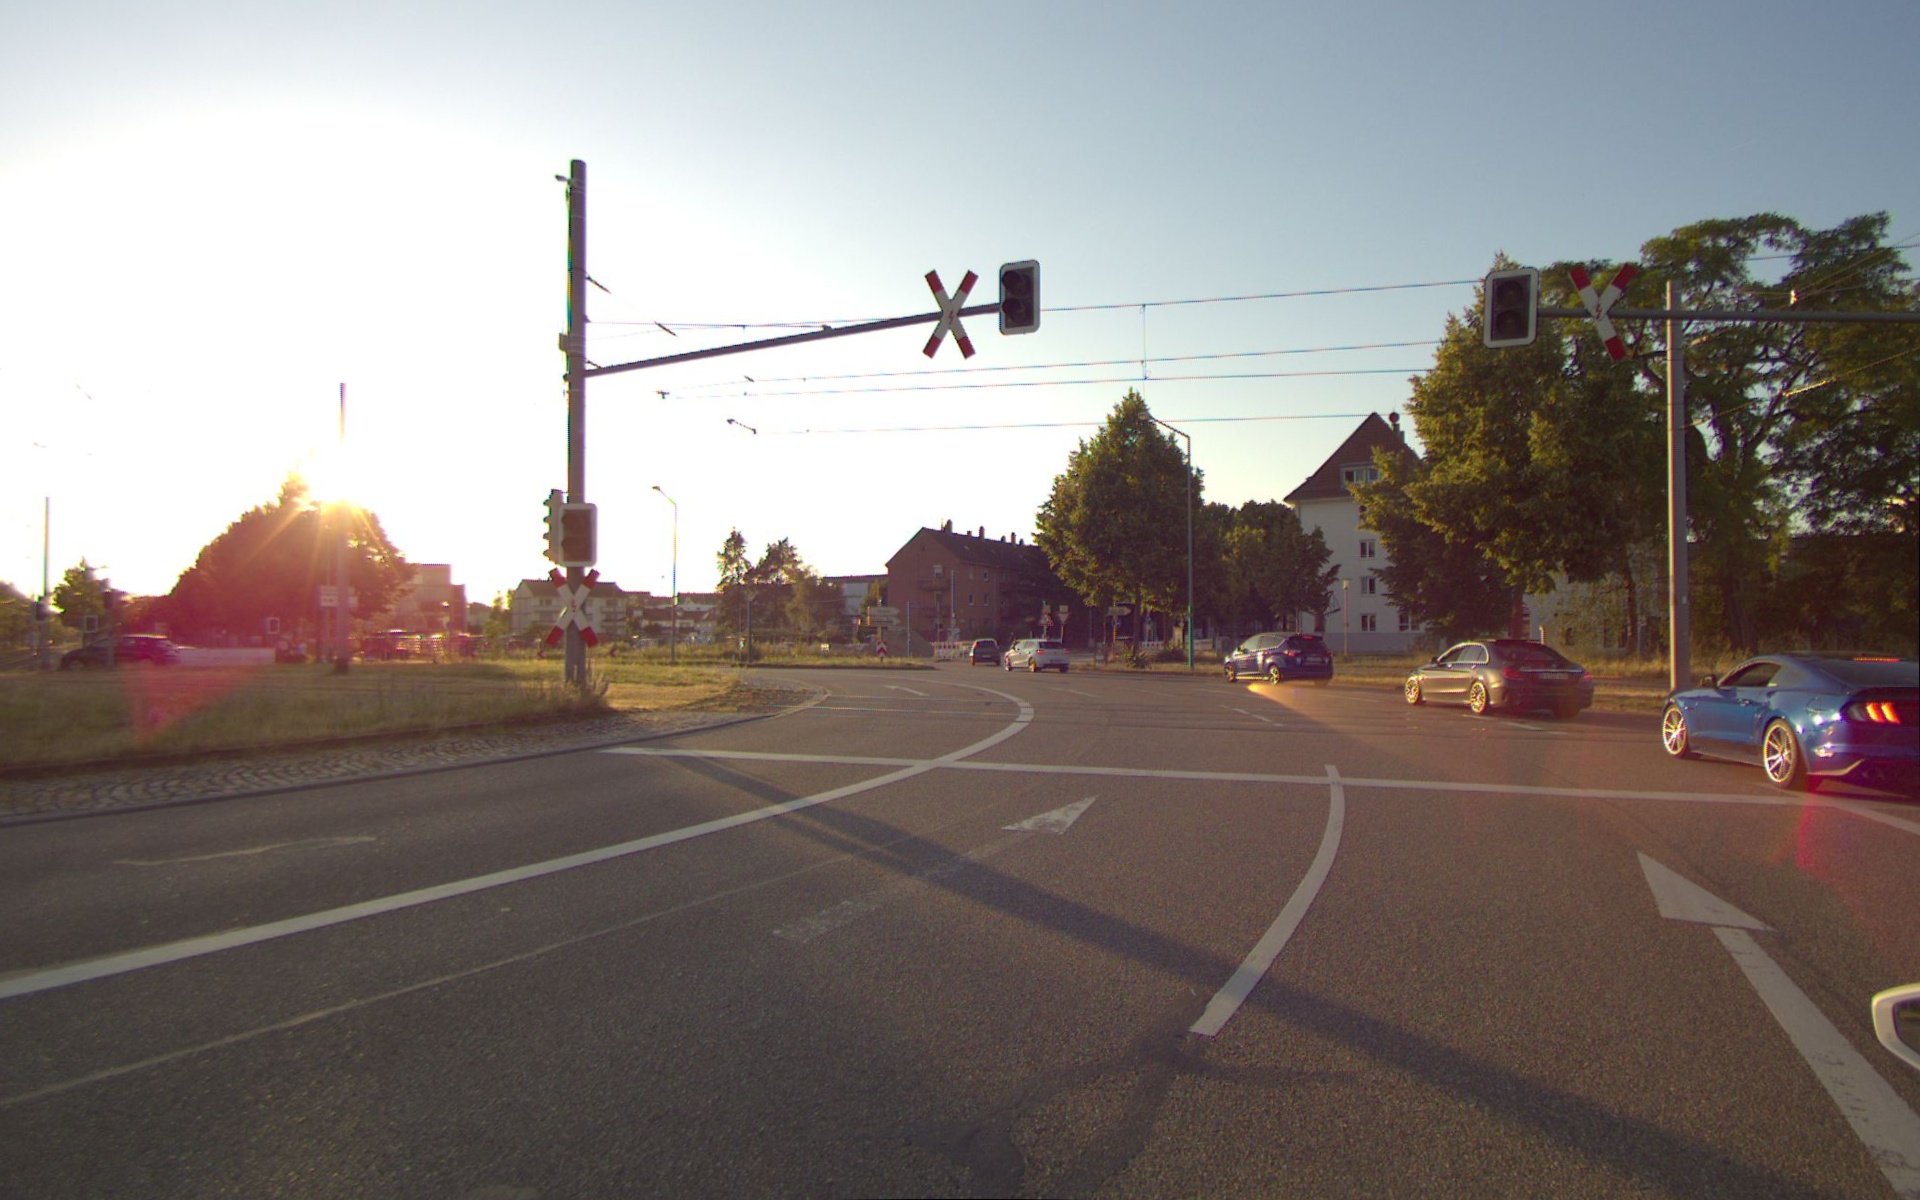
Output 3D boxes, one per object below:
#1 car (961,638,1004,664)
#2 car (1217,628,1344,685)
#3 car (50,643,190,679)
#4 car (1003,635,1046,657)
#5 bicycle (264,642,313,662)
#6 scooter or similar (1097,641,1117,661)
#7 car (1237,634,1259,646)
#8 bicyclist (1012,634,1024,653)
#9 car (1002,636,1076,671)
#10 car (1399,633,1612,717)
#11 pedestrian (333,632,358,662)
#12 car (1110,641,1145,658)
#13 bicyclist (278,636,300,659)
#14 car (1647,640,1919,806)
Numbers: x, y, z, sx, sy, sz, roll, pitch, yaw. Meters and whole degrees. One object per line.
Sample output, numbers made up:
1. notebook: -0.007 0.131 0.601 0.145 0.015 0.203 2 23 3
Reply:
1. car: 1.258 2.885 57.682 1.847 1.420 3.912 0 -2 -8
2. car: 9.856 1.710 31.263 1.925 1.623 4.066 1 -2 -14
3. car: -36.585 2.625 43.869 4.245 1.451 1.940 0 -2 -13
4. car: 4.553 3.202 70.473 1.845 1.420 3.915 -1 -2 22
5. bicycle: -41.632 3.217 62.301 2.375 1.182 0.750 1 -2 -24
6. scooter or similar: 8.989 3.120 61.445 1.107 1.254 0.440 1 -2 -22
7. car: 35.884 4.928 125.132 1.848 1.420 3.910 -1 -2 29
8. bicyclist: 5.200 3.896 90.073 0.741 1.633 0.976 -2 -2 32
9. car: 3.461 2.344 44.674 1.854 1.420 3.898 0 -2 -20
10. car: 10.627 1.407 20.000 1.919 1.446 4.431 1 -2 1
11. pedestrian: -38.826 2.968 63.441 1.144 1.851 0.975 0 -2 -19
12. car: 14.740 4.341 88.404 1.848 1.420 3.910 -1 -2 29
13. bicyclist: -41.613 2.930 62.298 0.965 1.412 0.750 1 -2 -23
14. car: 9.226 1.135 10.659 1.918 1.359 4.672 0 -2 17
